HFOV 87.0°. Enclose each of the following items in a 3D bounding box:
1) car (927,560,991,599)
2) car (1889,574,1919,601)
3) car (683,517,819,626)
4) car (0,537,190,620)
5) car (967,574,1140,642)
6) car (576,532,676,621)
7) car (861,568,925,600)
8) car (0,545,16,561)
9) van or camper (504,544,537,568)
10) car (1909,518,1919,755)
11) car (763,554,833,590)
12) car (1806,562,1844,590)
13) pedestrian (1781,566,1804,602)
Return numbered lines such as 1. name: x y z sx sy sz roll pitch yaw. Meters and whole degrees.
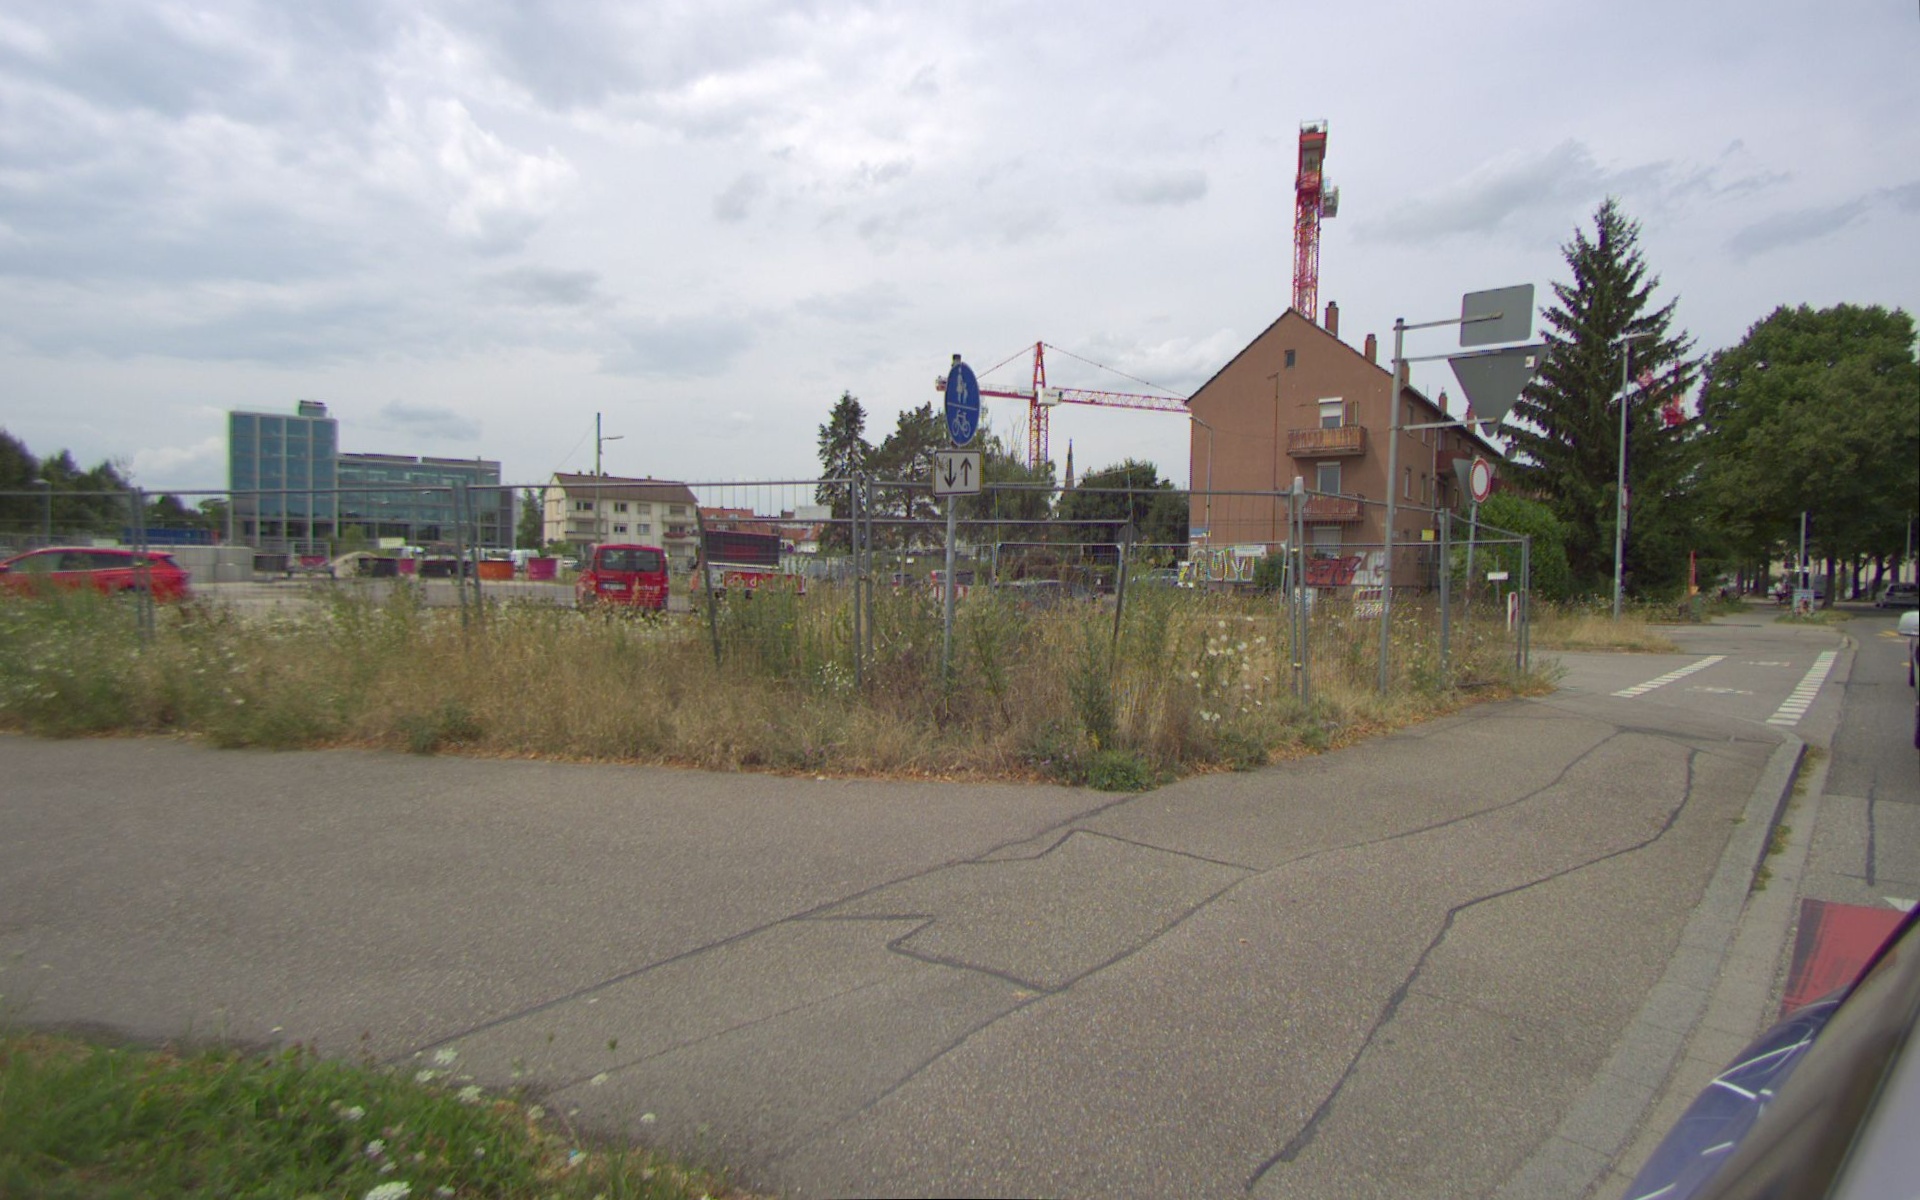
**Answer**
1. car: -0.079 -1.060 50.851 1.764 1.871 4.009 0 2 -23
2. car: 61.133 -0.813 64.959 1.792 1.642 4.683 2 2 38
3. car: -5.553 -0.752 26.034 2.270 2.442 6.557 0 2 -22
4. car: -19.000 -0.462 20.739 5.049 1.623 1.787 -1 2 -41
5. car: 2.329 0.135 24.520 4.185 1.491 1.765 -1 2 -41
6. car: -8.497 -0.607 25.426 1.896 1.934 4.999 3 1 -23
7. car: -3.699 -0.910 54.902 1.767 1.622 4.017 0 2 -32
8. car: -101.900 -4.990 107.262 1.962 1.638 4.754 0 2 -34
9. van or camper: -51.296 -5.111 118.078 2.309 2.721 5.242 0 2 -38
10. car: 8.483 0.291 7.605 1.804 1.971 4.515 2 2 42
11. car: -10.221 -1.756 63.475 2.110 2.162 4.903 -1 2 -41
12. car: 88.925 -2.480 104.100 2.056 2.718 5.903 2 2 32
13. pedestrian: 47.929 -0.904 58.266 0.849 2.038 0.724 2 1 32
